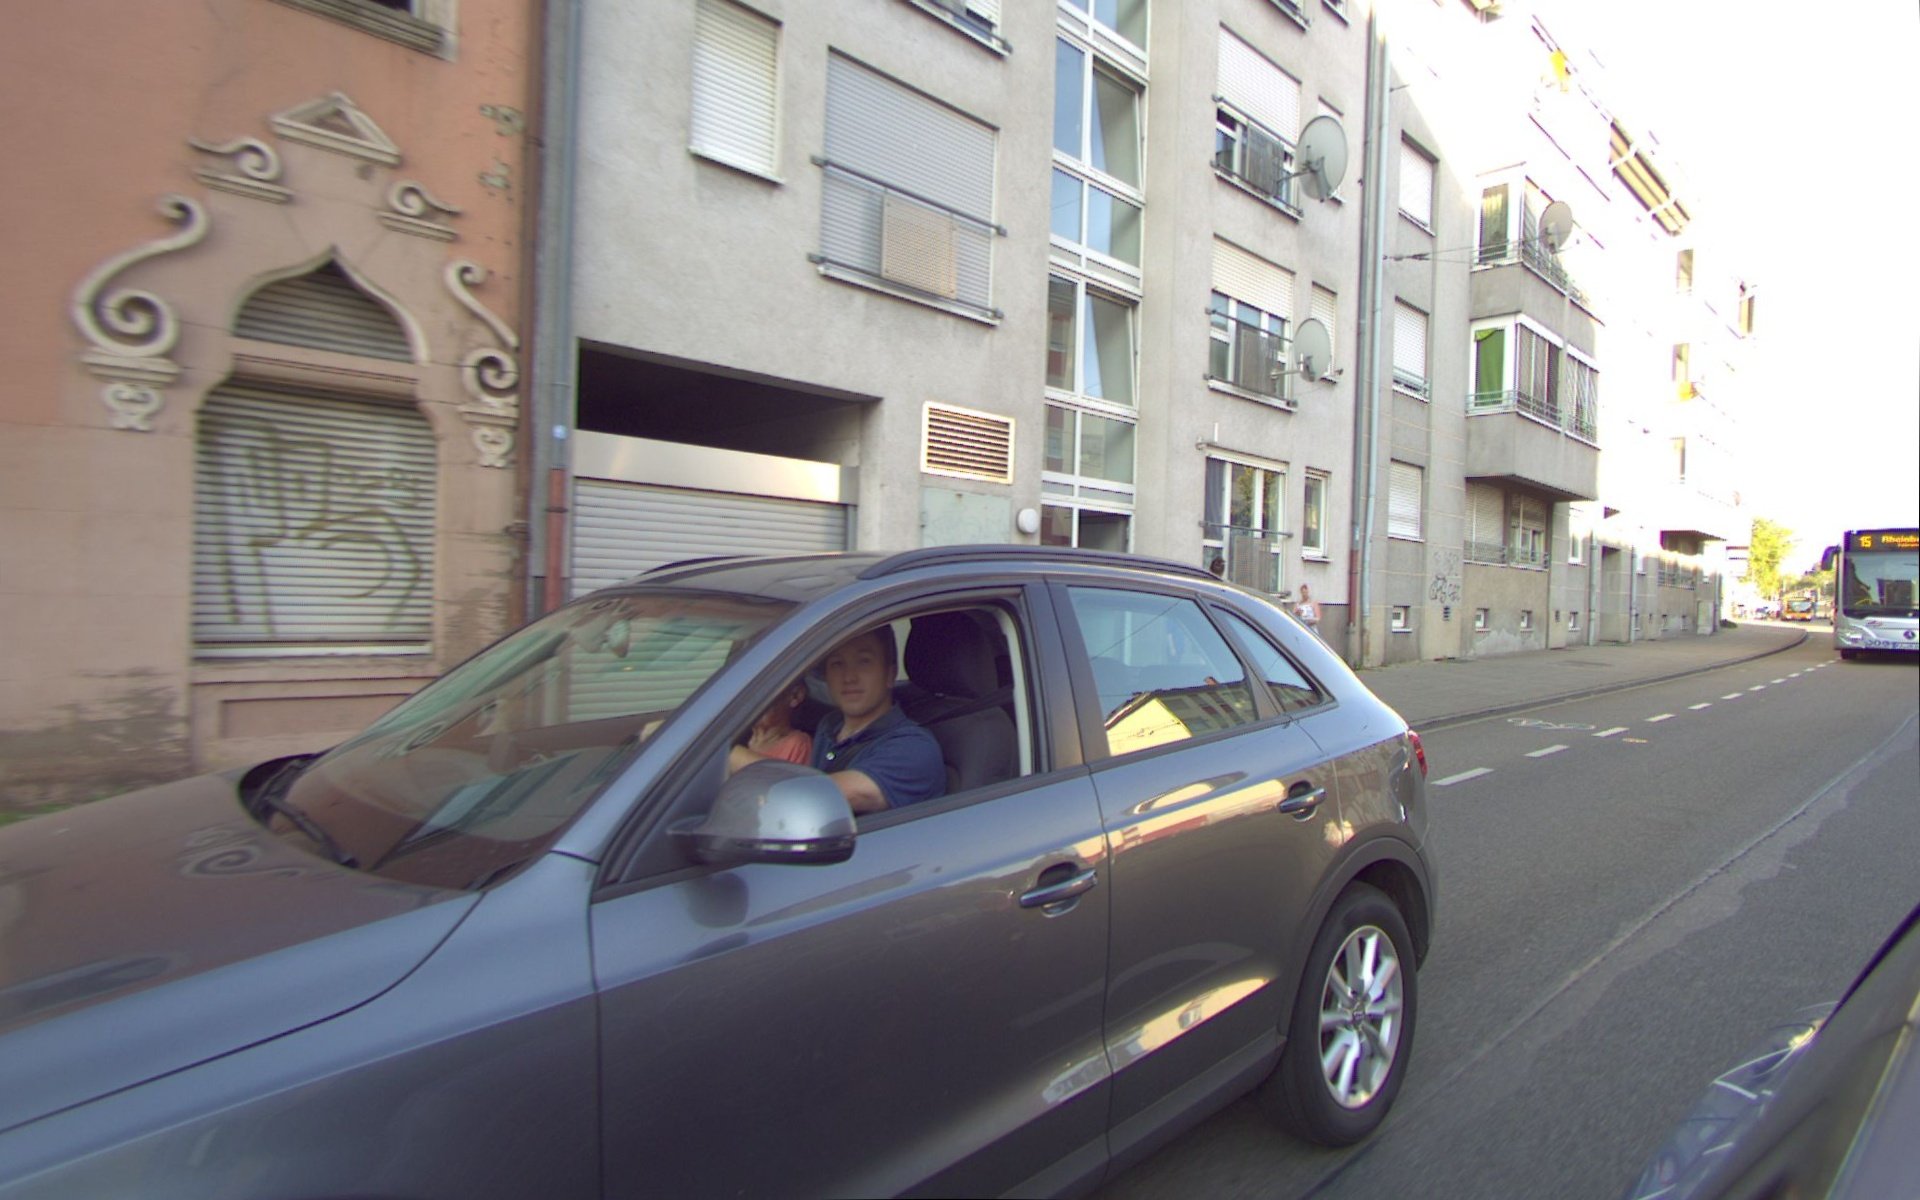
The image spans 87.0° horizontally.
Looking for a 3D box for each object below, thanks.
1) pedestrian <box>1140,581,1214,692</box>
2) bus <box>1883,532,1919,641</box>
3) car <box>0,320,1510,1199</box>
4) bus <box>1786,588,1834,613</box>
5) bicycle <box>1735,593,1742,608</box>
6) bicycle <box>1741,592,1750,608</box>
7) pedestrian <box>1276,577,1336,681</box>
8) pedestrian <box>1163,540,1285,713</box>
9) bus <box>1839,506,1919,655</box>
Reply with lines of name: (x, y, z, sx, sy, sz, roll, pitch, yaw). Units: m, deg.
pedestrian: (2.595, 0.425, 12.105, 0.574, 1.266, 0.588, 1, 2, -41)
bus: (31.515, -0.340, 32.038, 10.423, 3.116, 2.708, 0, 0, -44)
car: (-0.383, 0.553, 2.522, 3.996, 1.607, 1.770, 1, 0, -41)
bus: (102.555, 0.044, 122.292, 3.857, 2.888, 13.636, 1, 0, 38)
bicycle: (52.168, 0.023, 67.827, 0.278, 0.983, 1.707, 6, 3, 37)
bicycle: (52.530, 0.001, 67.669, 0.359, 1.044, 1.707, 6, 3, 37)
pedestrian: (4.732, 0.374, 13.848, 0.514, 1.360, 0.599, 4, 3, 45)
pedestrian: (2.905, 0.262, 11.148, 0.978, 1.793, 0.831, 1, 2, -41)
bus: (23.985, -0.382, 24.812, 10.423, 3.116, 2.727, 0, 0, -44)
